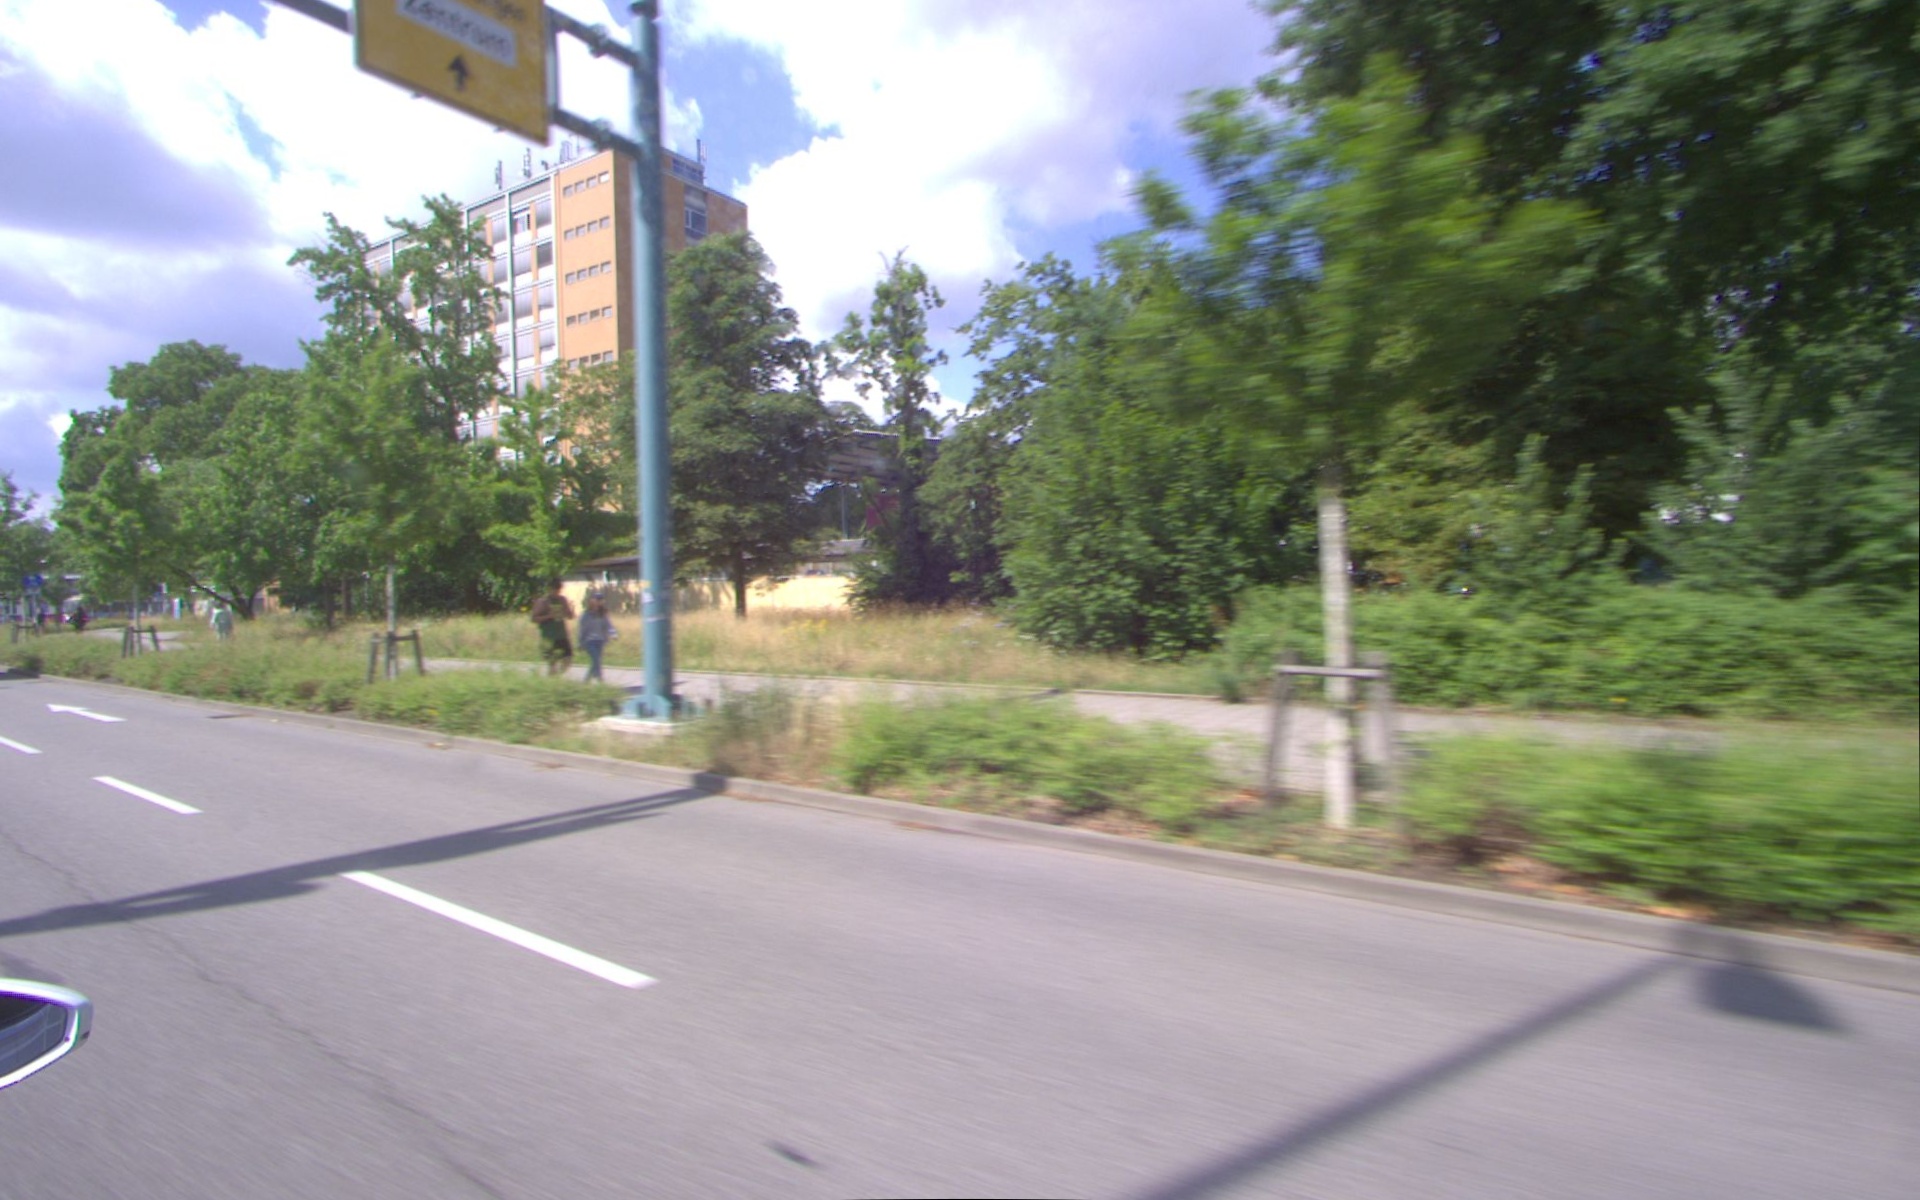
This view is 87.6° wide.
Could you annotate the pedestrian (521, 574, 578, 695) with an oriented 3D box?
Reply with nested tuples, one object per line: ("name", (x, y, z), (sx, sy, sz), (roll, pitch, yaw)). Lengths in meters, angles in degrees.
("pedestrian", (-6.408, 0.524, 15.617), (0.631, 1.826, 0.564), (0, 1, 38))

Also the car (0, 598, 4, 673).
("car", (-26.603, 0.919, 26.036), (4.767, 1.895, 1.933), (0, 1, 39))

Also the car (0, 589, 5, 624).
("car", (-76.395, 0.527, 77.583), (2.104, 2.818, 4.618), (-2, 1, -27))

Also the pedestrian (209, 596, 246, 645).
("pedestrian", (-25.623, 0.712, 35.037), (0.712, 1.660, 0.864), (0, 1, 40))

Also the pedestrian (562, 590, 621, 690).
("pedestrian", (-6.029, 0.635, 16.379), (0.699, 1.602, 0.620), (0, 1, 38))

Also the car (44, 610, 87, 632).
("car", (-87.108, 2.043, 97.594), (1.967, 1.964, 4.618), (-2, 1, -27))

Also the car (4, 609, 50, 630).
("car", (-90.145, 1.868, 96.841), (1.967, 1.964, 4.618), (-2, 1, -27))

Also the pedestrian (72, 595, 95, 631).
("pedestrian", (-43.267, 0.627, 49.432), (0.671, 1.759, 0.738), (0, 1, 42))
